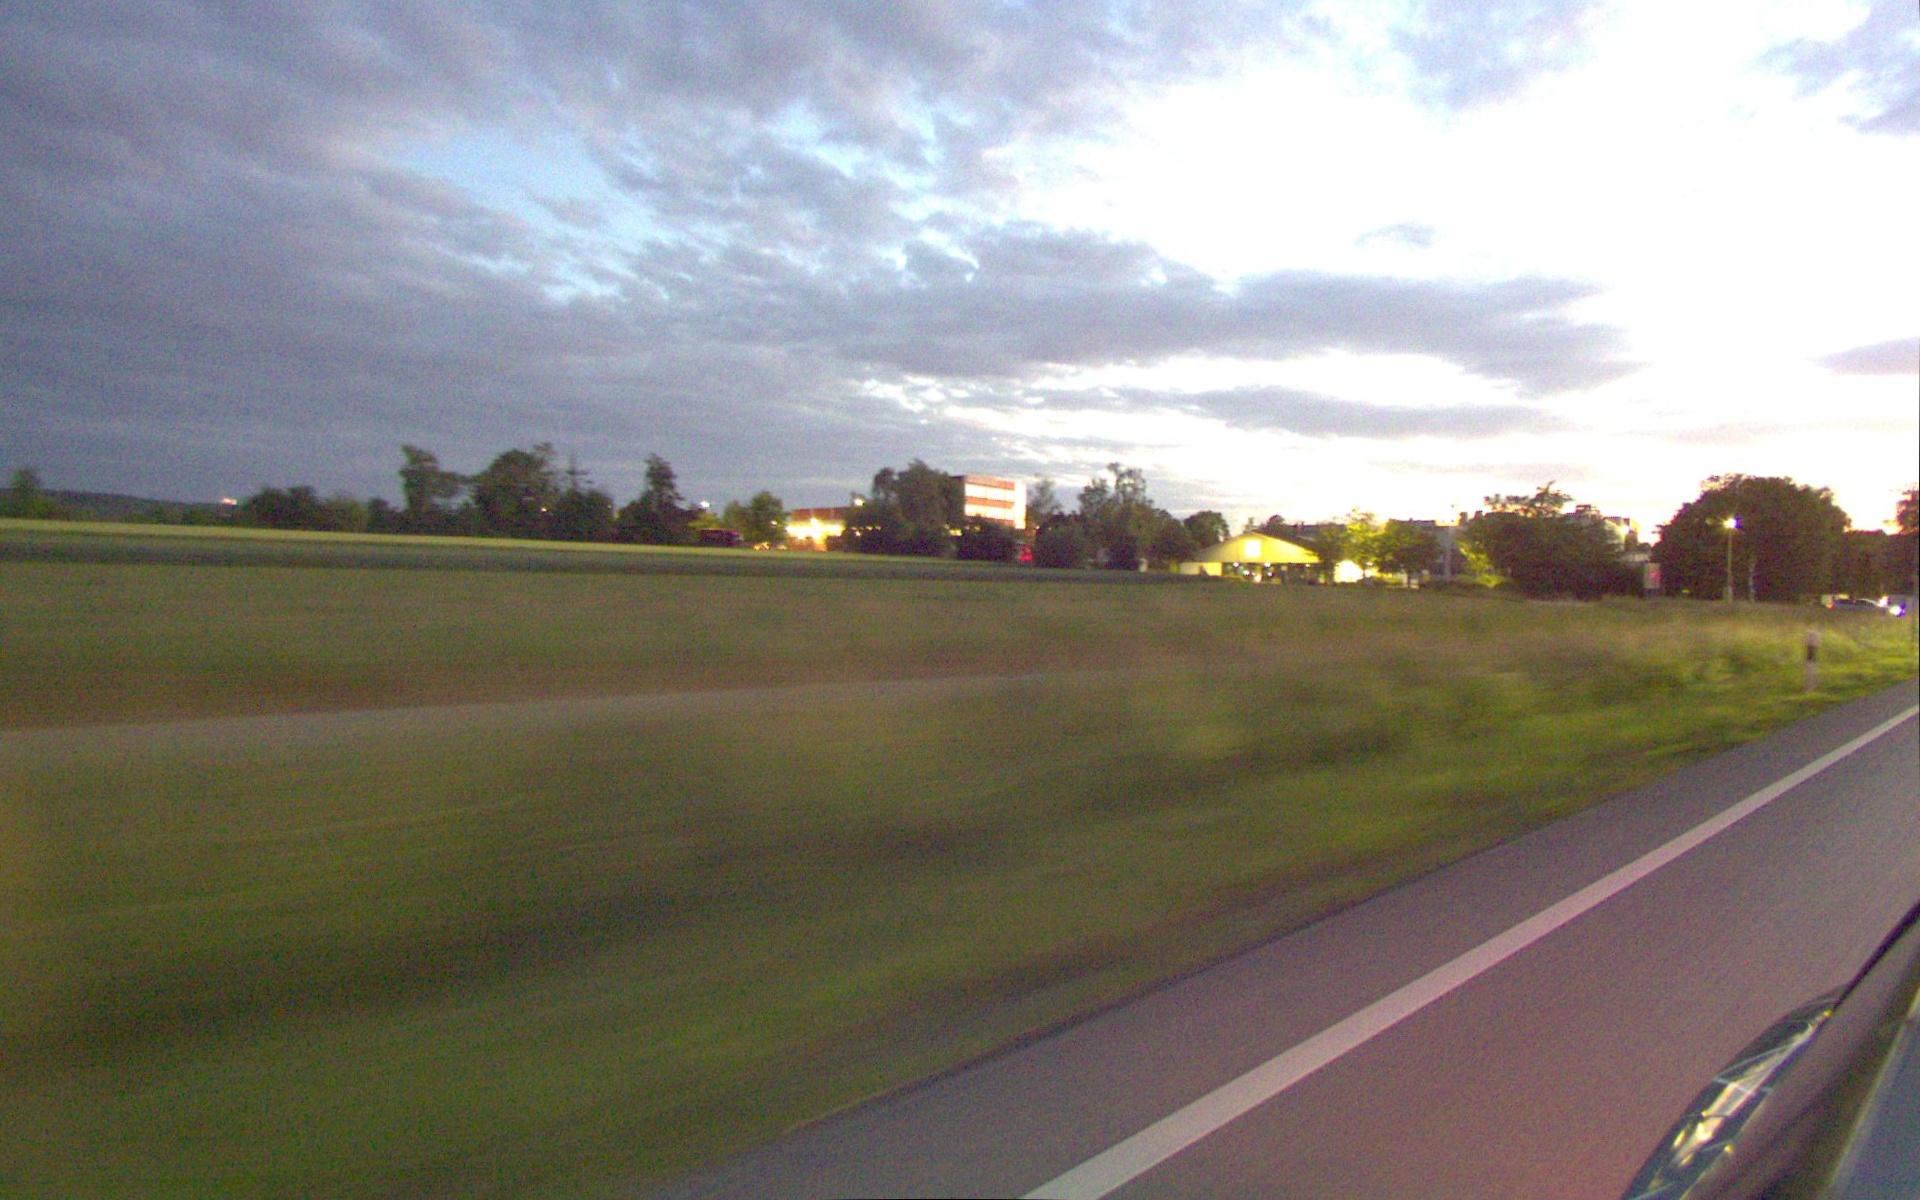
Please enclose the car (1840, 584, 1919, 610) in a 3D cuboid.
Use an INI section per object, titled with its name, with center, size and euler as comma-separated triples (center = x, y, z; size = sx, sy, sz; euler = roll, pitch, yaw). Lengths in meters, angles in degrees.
[car]
center = 67.405, -0.222, 74.061
size = 4.464, 1.684, 1.969
euler = 4, 3, 44
